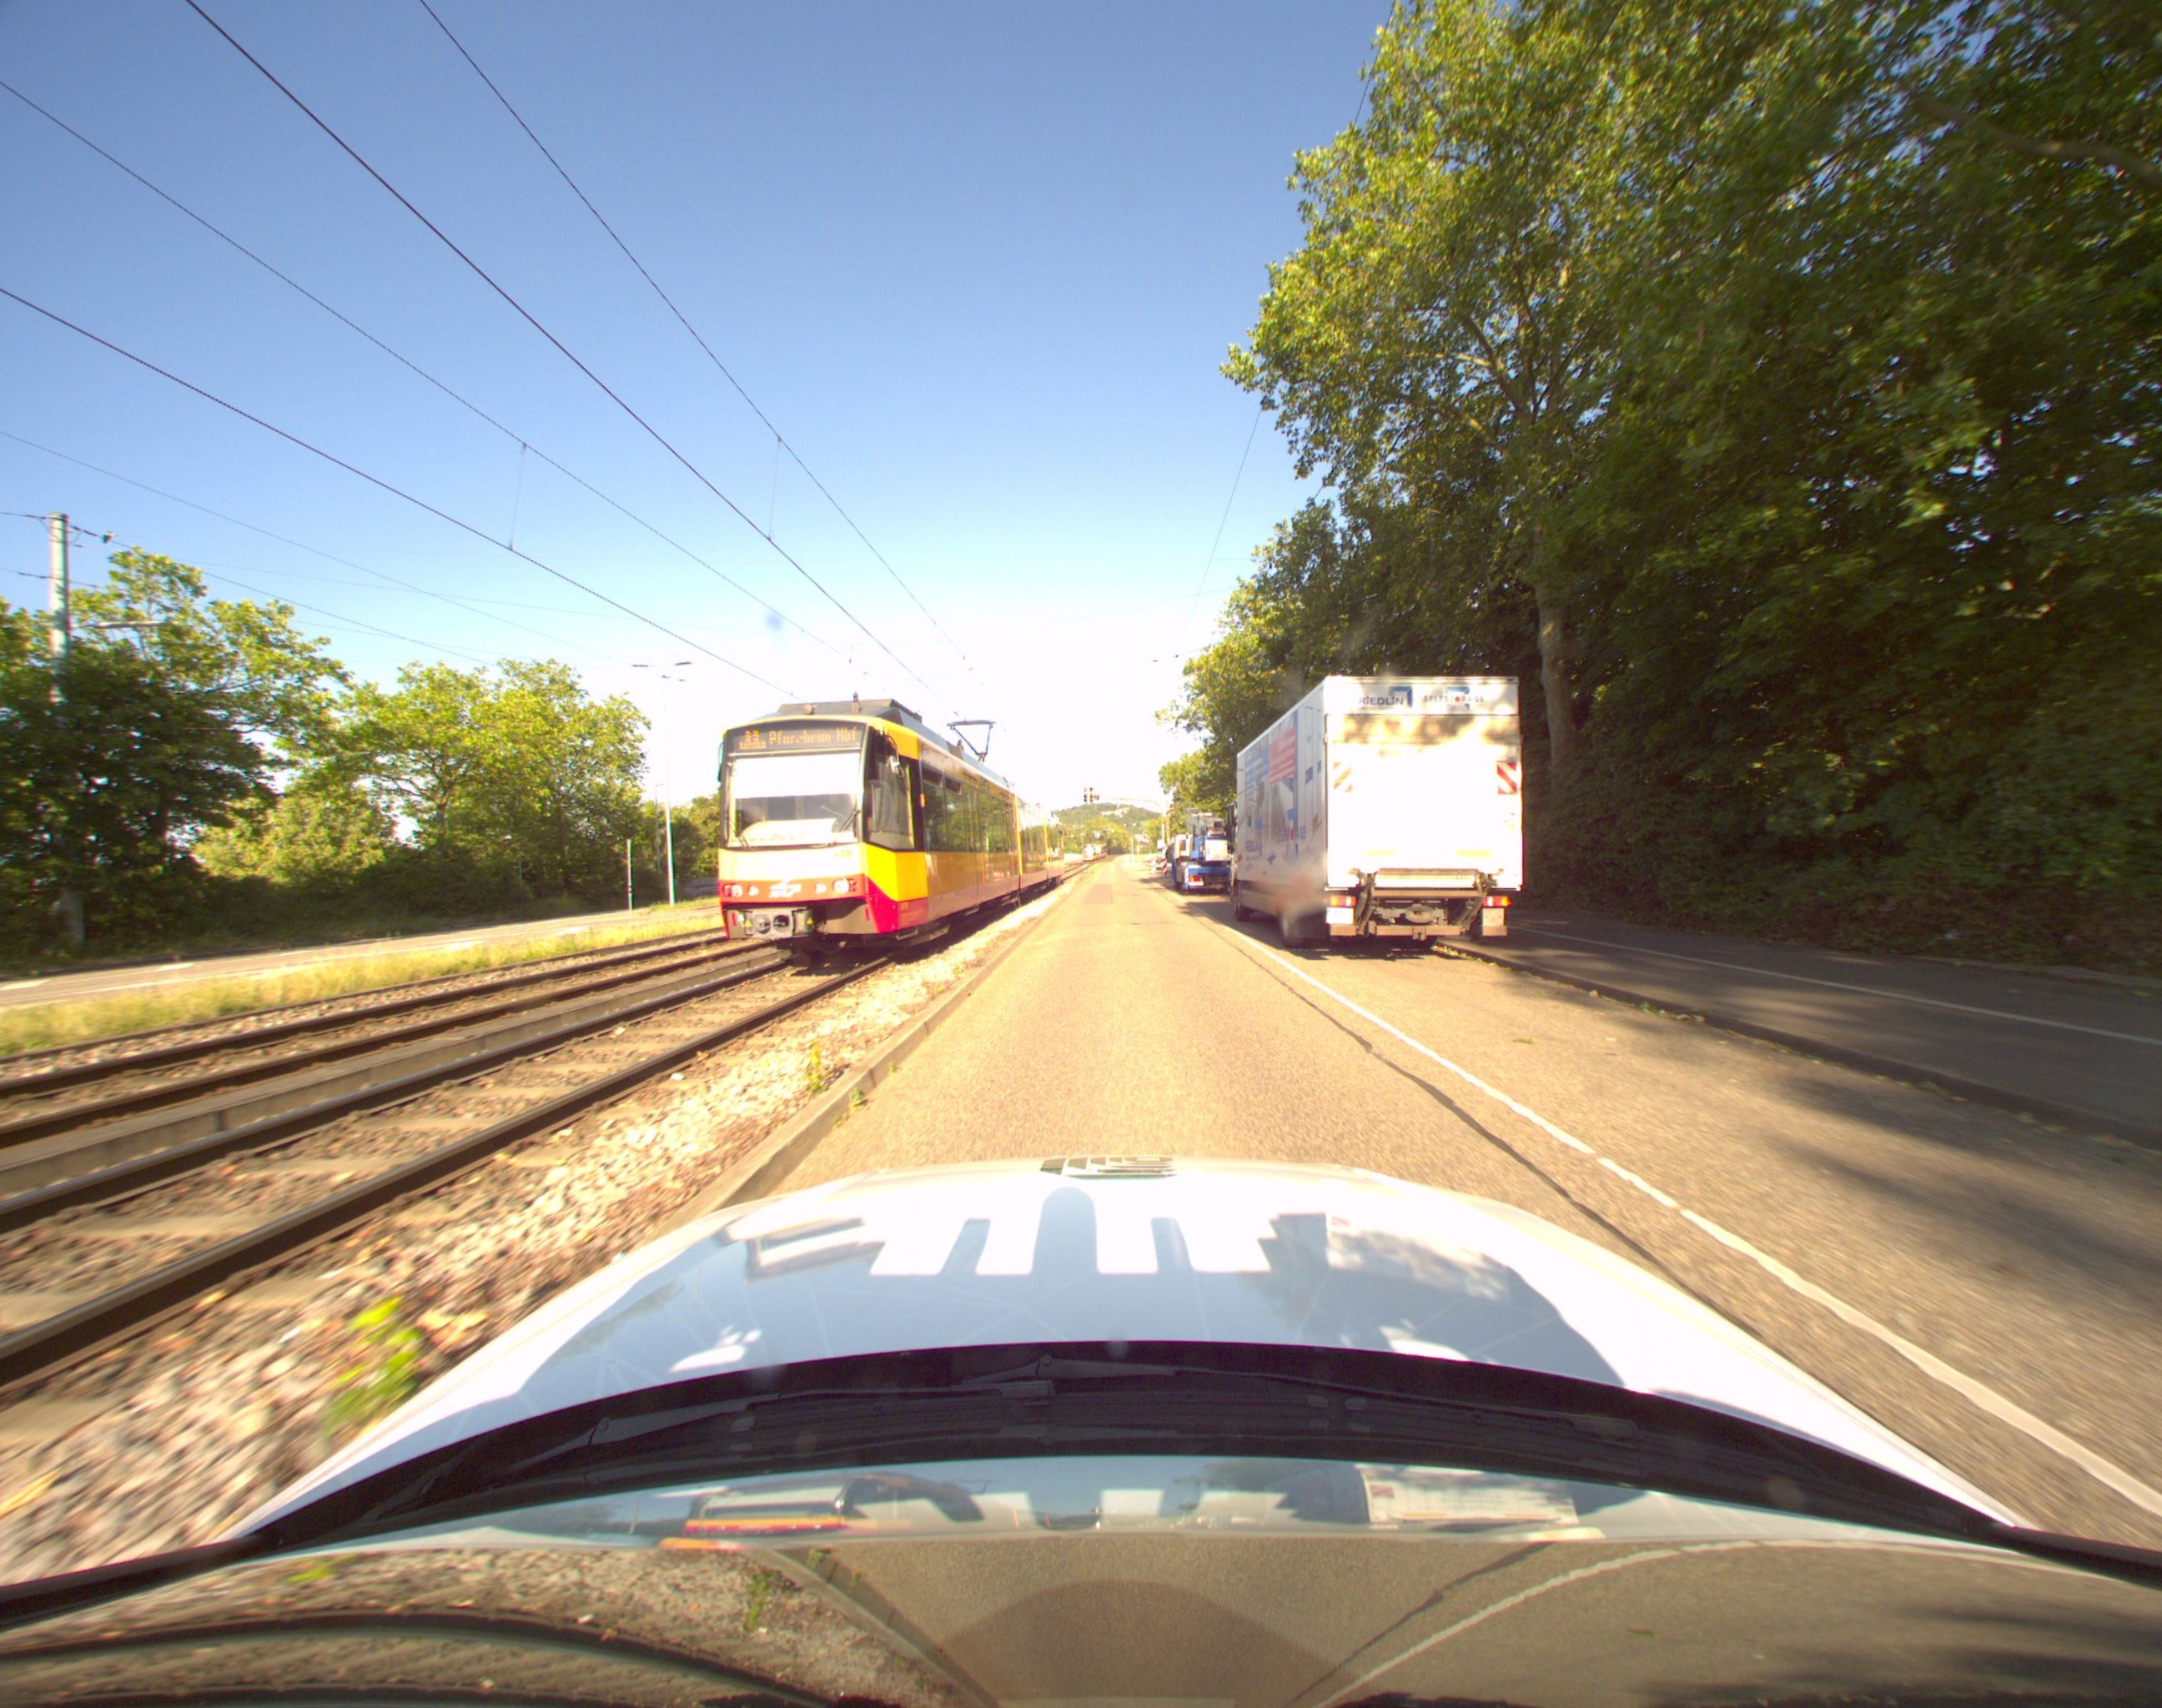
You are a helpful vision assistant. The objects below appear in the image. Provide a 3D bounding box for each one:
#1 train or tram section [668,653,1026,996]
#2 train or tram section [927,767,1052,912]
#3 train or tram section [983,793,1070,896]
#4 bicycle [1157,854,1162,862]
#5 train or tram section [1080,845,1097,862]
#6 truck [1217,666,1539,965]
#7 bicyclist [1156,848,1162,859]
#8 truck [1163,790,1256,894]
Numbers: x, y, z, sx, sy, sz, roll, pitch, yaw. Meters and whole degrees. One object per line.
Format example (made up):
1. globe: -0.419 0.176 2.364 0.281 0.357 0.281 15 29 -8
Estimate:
1. train or tram section: -3.347 -0.344 16.813 2.710 4.091 13.624 -3 0 3
2. train or tram section: -2.841 -0.418 28.591 2.684 4.089 9.916 -3 0 2
3. train or tram section: -2.324 -0.377 39.920 2.709 4.089 12.820 -3 0 2
4. bicycle: 10.156 0.492 105.653 0.513 1.042 1.976 -2 0 2
5. train or tram section: 1.737 -0.079 179.820 2.631 3.567 10.849 -3 0 6
6. truck: 4.602 -0.472 15.377 2.731 3.783 10.093 0 0 2
7. bicyclist: 10.143 -0.031 105.714 0.602 1.379 0.976 -2 0 2
8. truck: 5.178 -0.426 34.595 2.707 3.783 9.765 0 0 2
